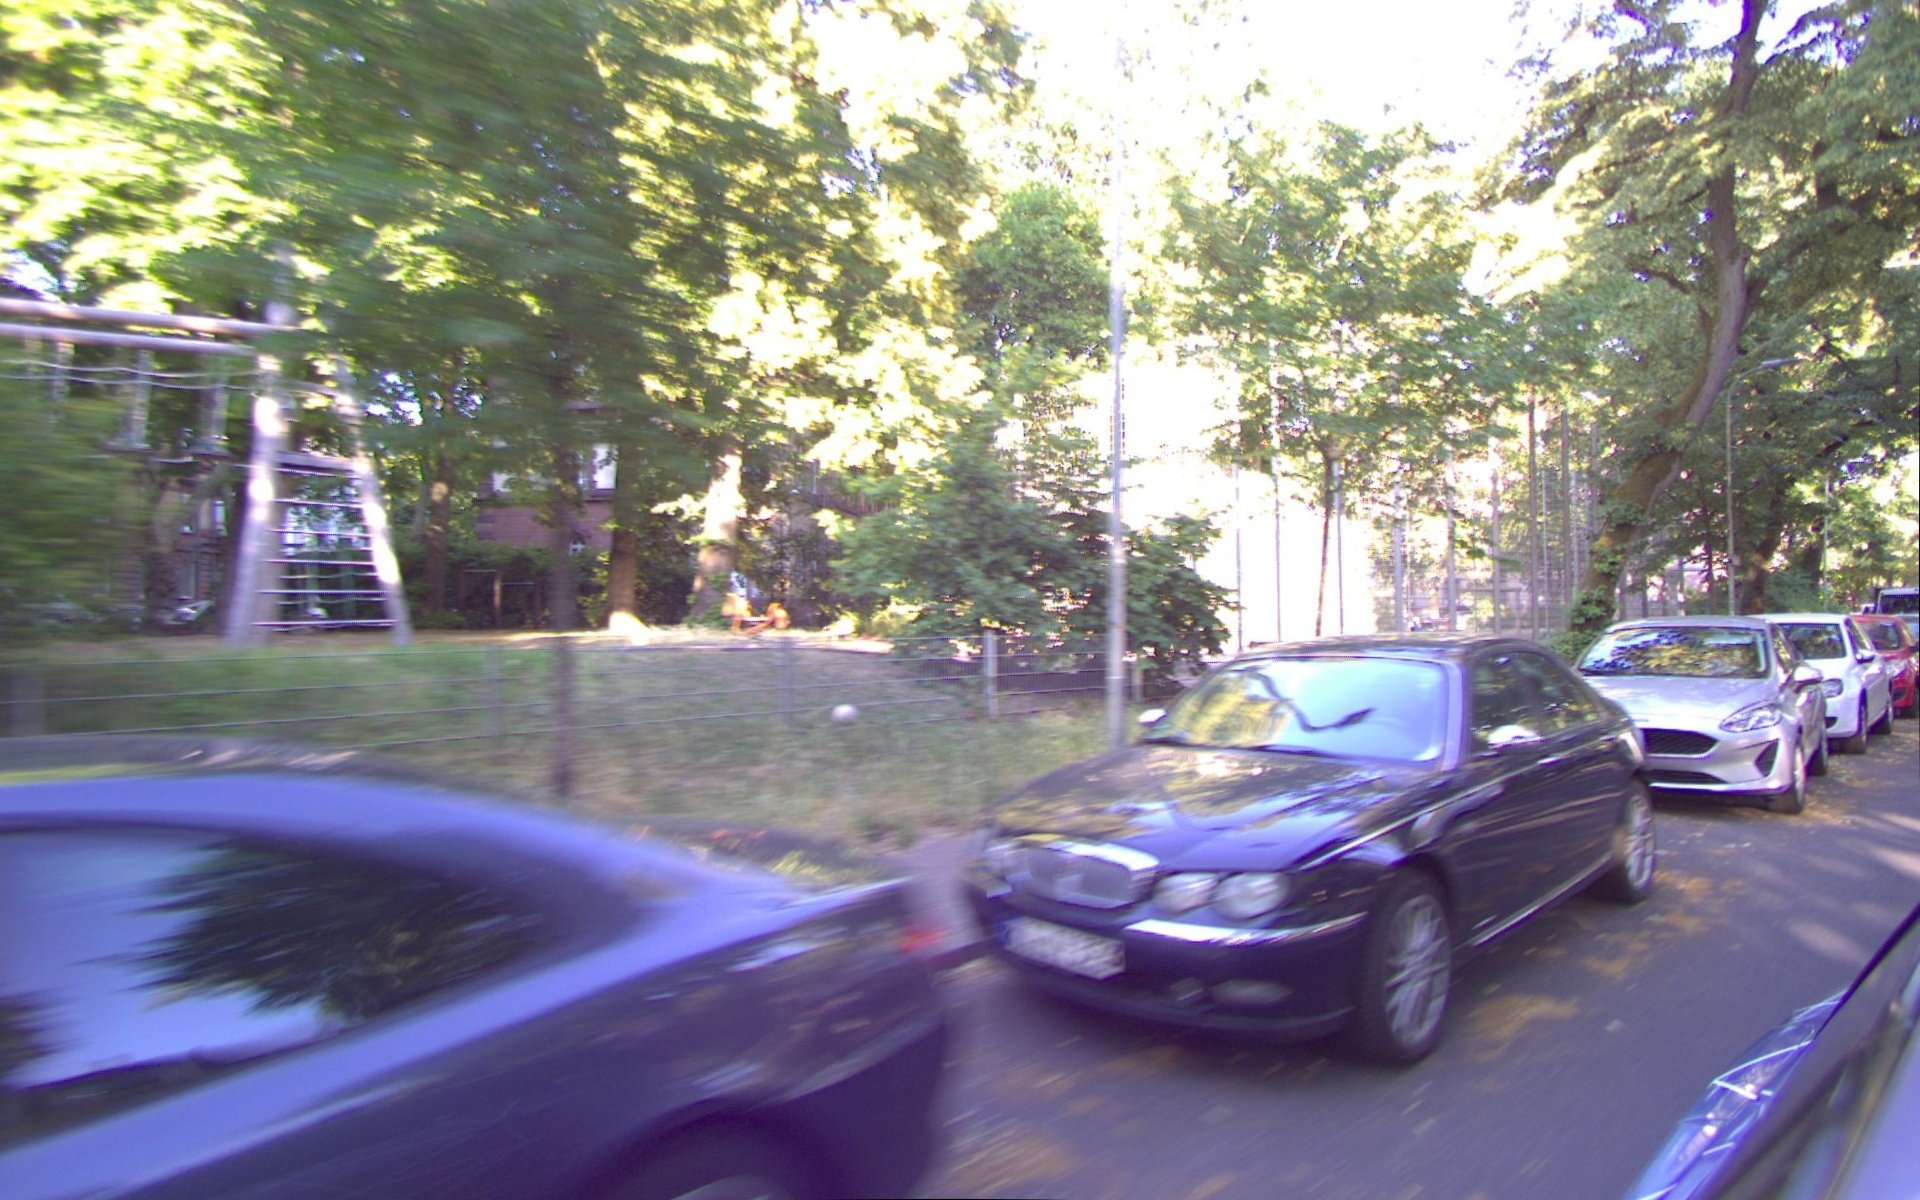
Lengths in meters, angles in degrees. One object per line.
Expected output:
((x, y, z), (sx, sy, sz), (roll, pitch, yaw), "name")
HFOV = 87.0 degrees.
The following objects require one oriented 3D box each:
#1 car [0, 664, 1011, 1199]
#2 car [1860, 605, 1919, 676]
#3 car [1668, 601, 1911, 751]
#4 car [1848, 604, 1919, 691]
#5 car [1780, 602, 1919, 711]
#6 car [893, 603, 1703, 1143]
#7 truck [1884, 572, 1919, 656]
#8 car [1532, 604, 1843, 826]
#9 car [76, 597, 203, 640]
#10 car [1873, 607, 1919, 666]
((-1.992, 0.848, 1.312), (4.215, 1.299, 1.681), (0, -1, -44), "car")
((21.372, 0.843, 22.542), (3.884, 1.472, 1.673), (0, -1, -44), "car")
((9.876, 0.764, 11.945), (4.007, 1.472, 1.682), (0, -1, -43), "car")
((17.838, 0.823, 18.799), (3.884, 1.472, 1.673), (0, -1, -44), "car")
((13.846, 0.779, 15.436), (3.495, 1.472, 1.592), (0, -1, -43), "car")
((1.995, 0.752, 4.906), (4.579, 1.442, 1.682), (0, -1, -42), "car")
((30.570, 0.399, 31.525), (2.296, 2.417, 6.821), (-2, -1, 45), "truck")
((6.451, 0.784, 8.789), (1.680, 1.472, 4.012), (-2, -1, 43), "car")
((-33.399, 0.737, 41.369), (1.701, 1.653, 4.502), (1, -1, -3), "car")
((24.699, 0.881, 25.838), (4.226, 1.415, 1.674), (0, -1, -43), "car")
